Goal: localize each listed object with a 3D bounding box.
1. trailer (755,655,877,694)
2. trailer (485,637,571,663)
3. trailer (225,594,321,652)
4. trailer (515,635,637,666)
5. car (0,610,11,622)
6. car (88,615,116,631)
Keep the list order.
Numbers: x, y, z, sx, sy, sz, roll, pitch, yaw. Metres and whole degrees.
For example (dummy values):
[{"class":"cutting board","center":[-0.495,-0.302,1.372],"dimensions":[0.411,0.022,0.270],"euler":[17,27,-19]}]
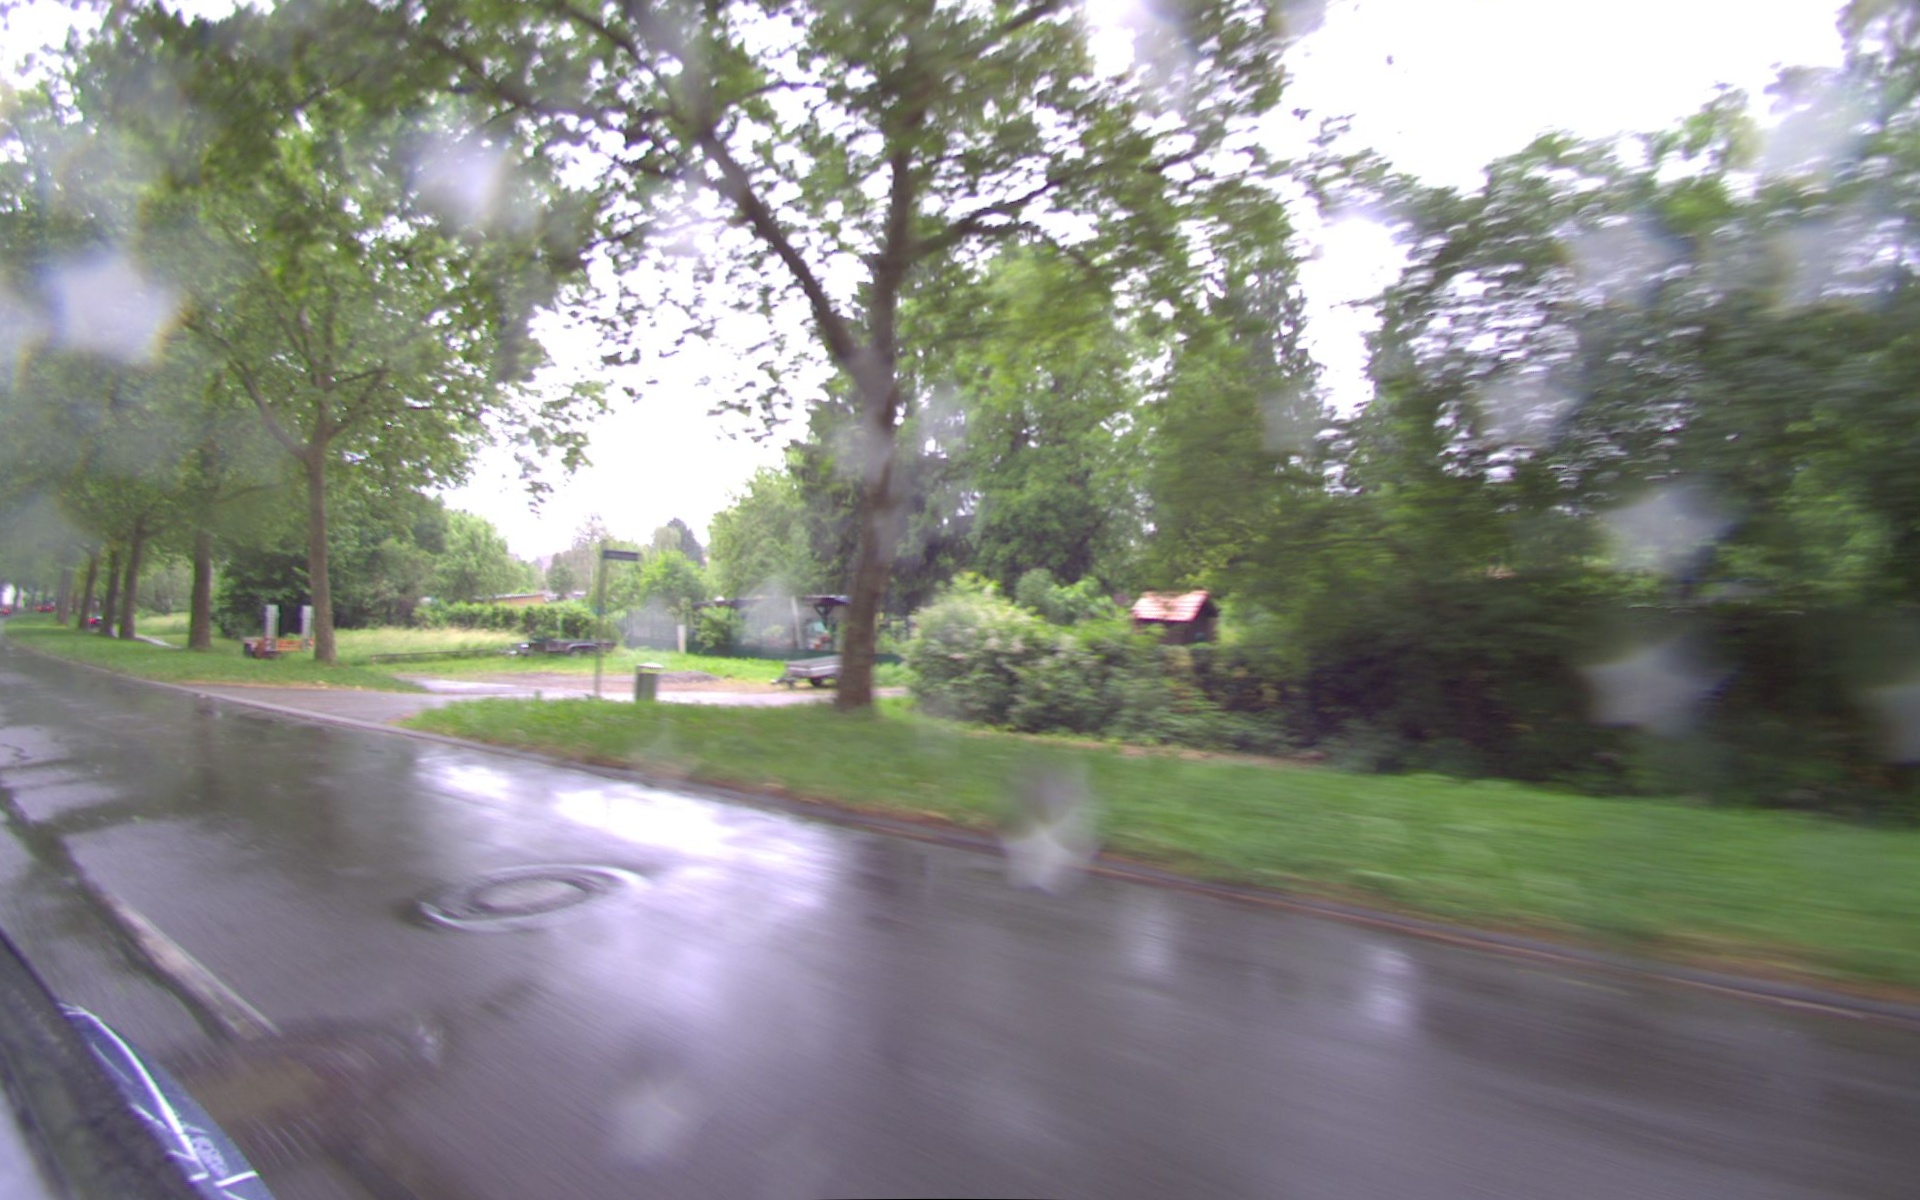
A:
[{"class":"trailer","center":[-4.028,2.056,28.463],"dimensions":[2.994,0.844,1.679],"euler":[0,0,-44]},{"class":"trailer","center":[-19.113,2.199,44.837],"dimensions":[1.769,0.952,3.041],"euler":[0,0,43]},{"class":"trailer","center":[-34.206,1.092,50.307],"dimensions":[6.656,2.684,2.766],"euler":[0,0,45]},{"class":"trailer","center":[-16.304,2.125,43.062],"dimensions":[2.381,1.040,4.271],"euler":[0,0,42]},{"class":"car","center":[-119.856,1.961,126.554],"dimensions":[3.374,1.464,1.572],"euler":[0,0,43]},{"class":"car","center":[-96.597,2.562,113.913],"dimensions":[1.868,1.695,4.011],"euler":[0,0,-33]}]
